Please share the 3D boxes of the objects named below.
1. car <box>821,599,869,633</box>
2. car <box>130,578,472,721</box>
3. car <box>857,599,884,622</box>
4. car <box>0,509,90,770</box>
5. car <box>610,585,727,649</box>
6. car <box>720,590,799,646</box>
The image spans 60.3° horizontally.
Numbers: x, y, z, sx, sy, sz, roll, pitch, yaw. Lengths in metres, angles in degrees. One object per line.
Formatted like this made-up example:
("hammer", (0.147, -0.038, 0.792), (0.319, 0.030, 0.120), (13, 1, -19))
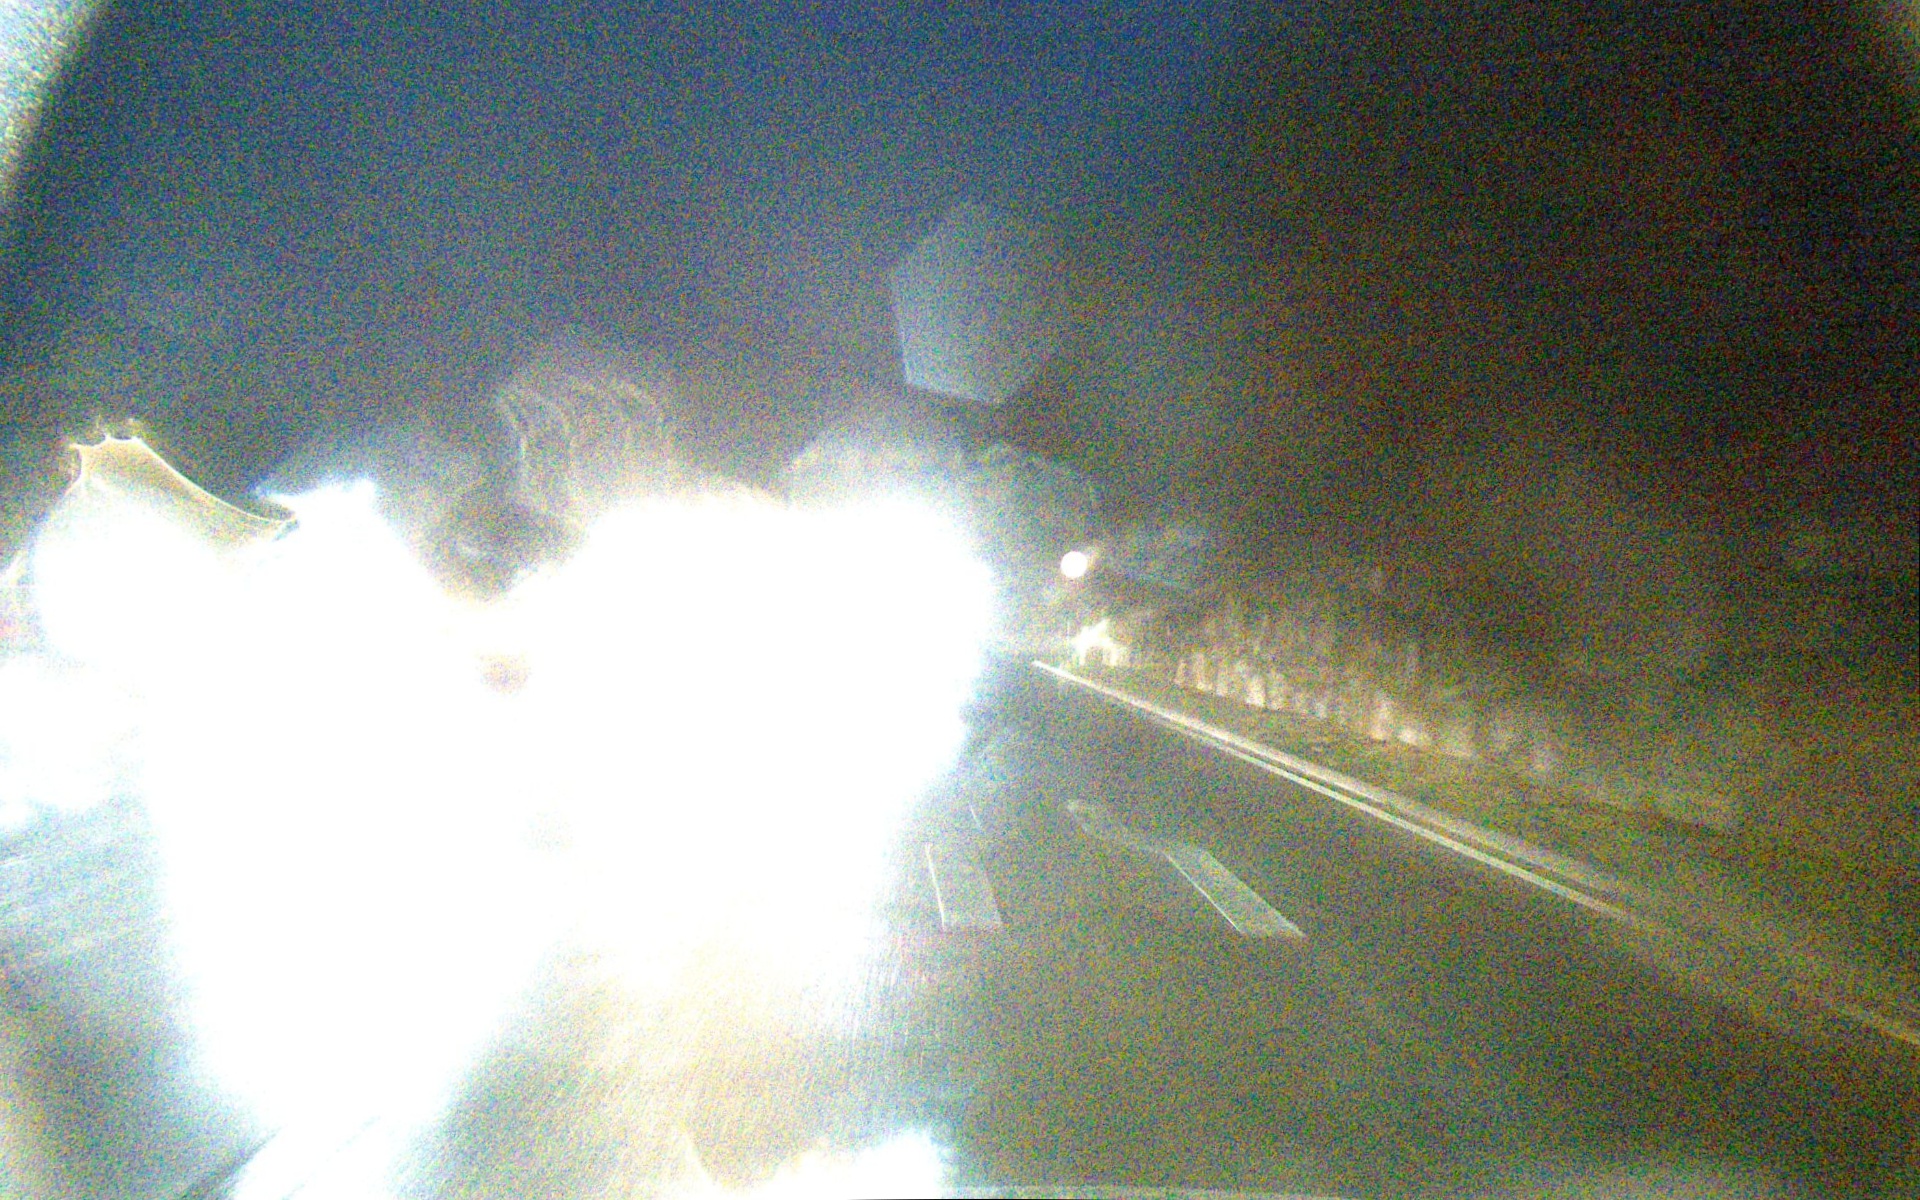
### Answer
("car", (-5.821, 0.805, 84.119), (2.067, 1.603, 4.679), (2, 0, 0))
("car", (-8.326, 0.565, 21.551), (2.136, 1.586, 5.205), (1, 0, 3))
("car", (-6.761, 0.761, 125.282), (1.884, 1.643, 4.084), (2, 0, -2))
("car", (-8.625, 0.276, 11.724), (2.109, 2.049, 4.996), (2, 0, 1))
("car", (-7.747, 0.437, 44.445), (2.040, 1.569, 4.900), (1, 0, 3))
("car", (-7.299, 0.630, 60.727), (1.952, 1.897, 5.321), (1, 0, 3))
